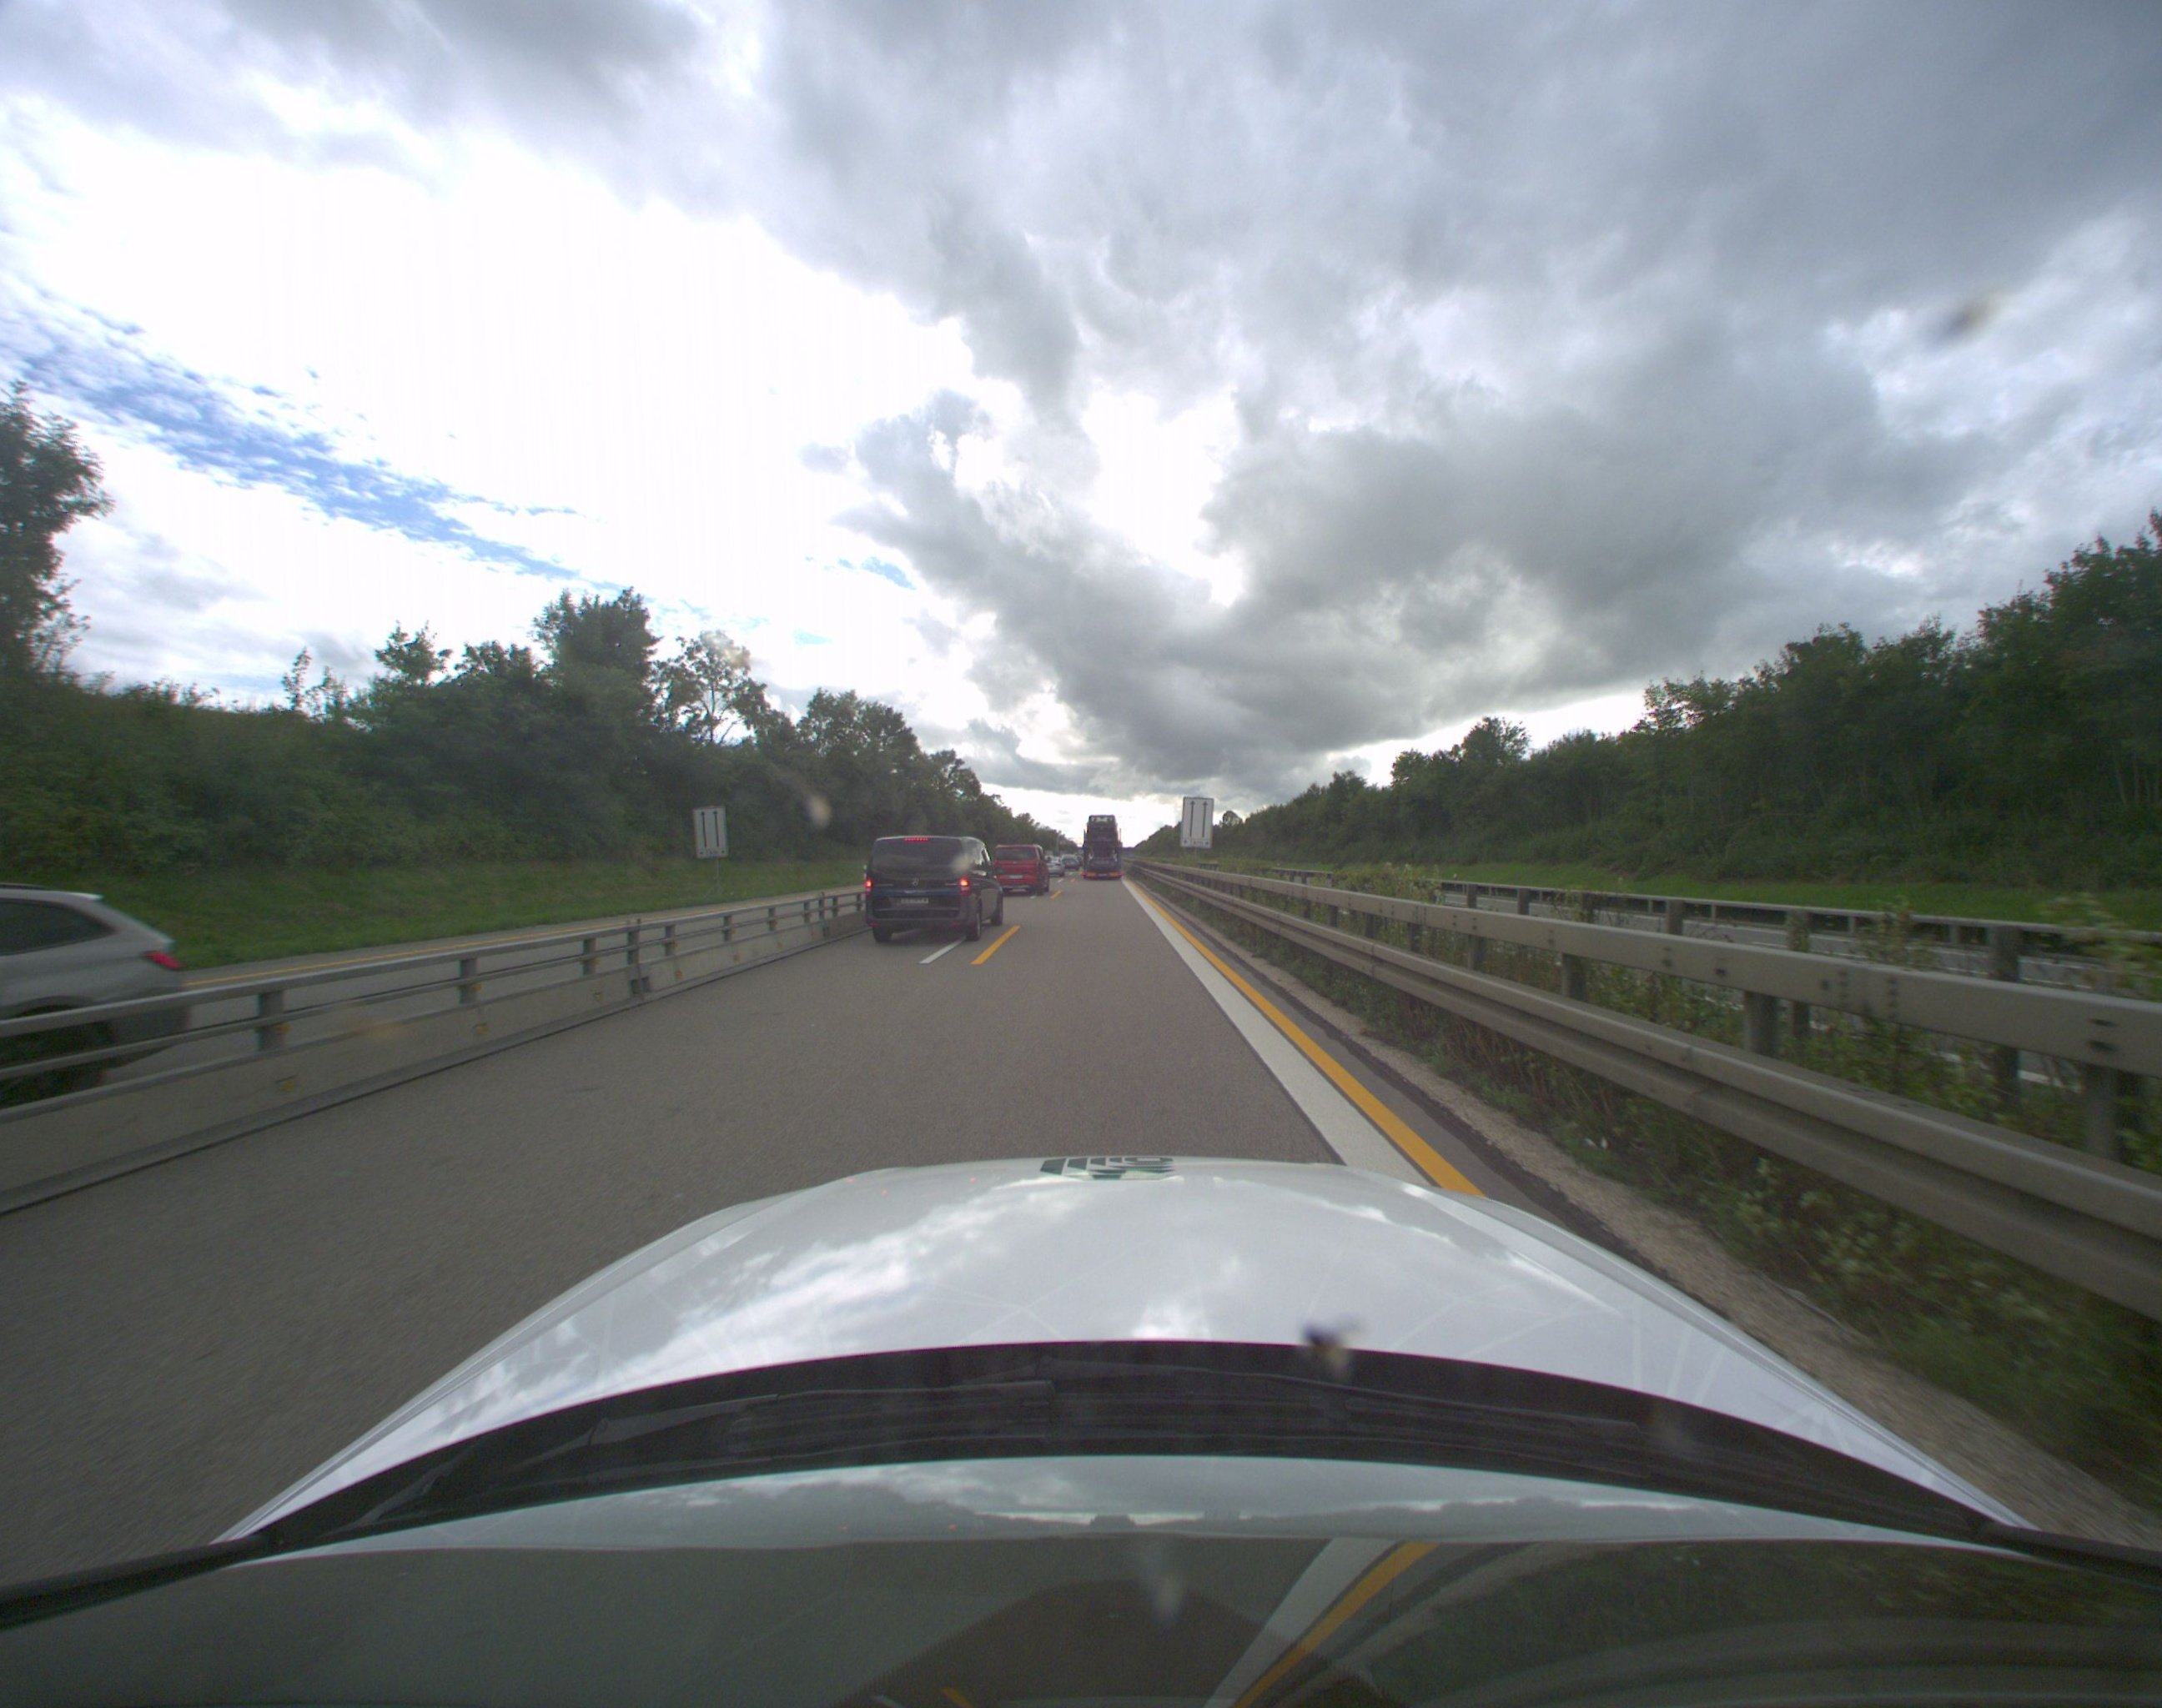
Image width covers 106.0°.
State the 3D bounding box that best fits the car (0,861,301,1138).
[{"bbox_3d":[-6.987,0.823,3.719,1.986,1.520,4.954,-1,0,1],"label":"car"}]

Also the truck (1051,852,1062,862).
[{"bbox_3d":[-6.678,0.802,223.984,2.480,2.718,6.669,0,0,2],"label":"truck"}]

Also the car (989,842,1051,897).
[{"bbox_3d":[-2.357,0.577,32.701,2.024,2.013,4.579,-1,0,1],"label":"car"}]

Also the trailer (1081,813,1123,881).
[{"bbox_3d":[1.473,-0.420,54.643,2.506,4.105,11.118,0,0,2],"label":"trailer"}]

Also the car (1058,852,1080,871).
[{"bbox_3d":[-1.193,0.742,80.369,2.024,1.757,4.578,-1,0,1],"label":"car"}]

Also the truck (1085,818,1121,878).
[{"bbox_3d":[1.632,-0.397,59.365,2.506,4.105,5.687,0,0,2],"label":"truck"}]

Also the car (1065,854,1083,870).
[{"bbox_3d":[-0.757,0.890,92.950,2.024,1.757,4.578,-1,0,0],"label":"car"}]

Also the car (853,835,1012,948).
[{"bbox_3d":[-2.707,0.636,16.324,1.986,1.843,5.611,-1,0,1],"label":"car"}]

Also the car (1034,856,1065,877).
[{"bbox_3d":[-2.218,0.879,58.840,2.024,1.430,4.578,-1,0,1],"label":"car"}]
